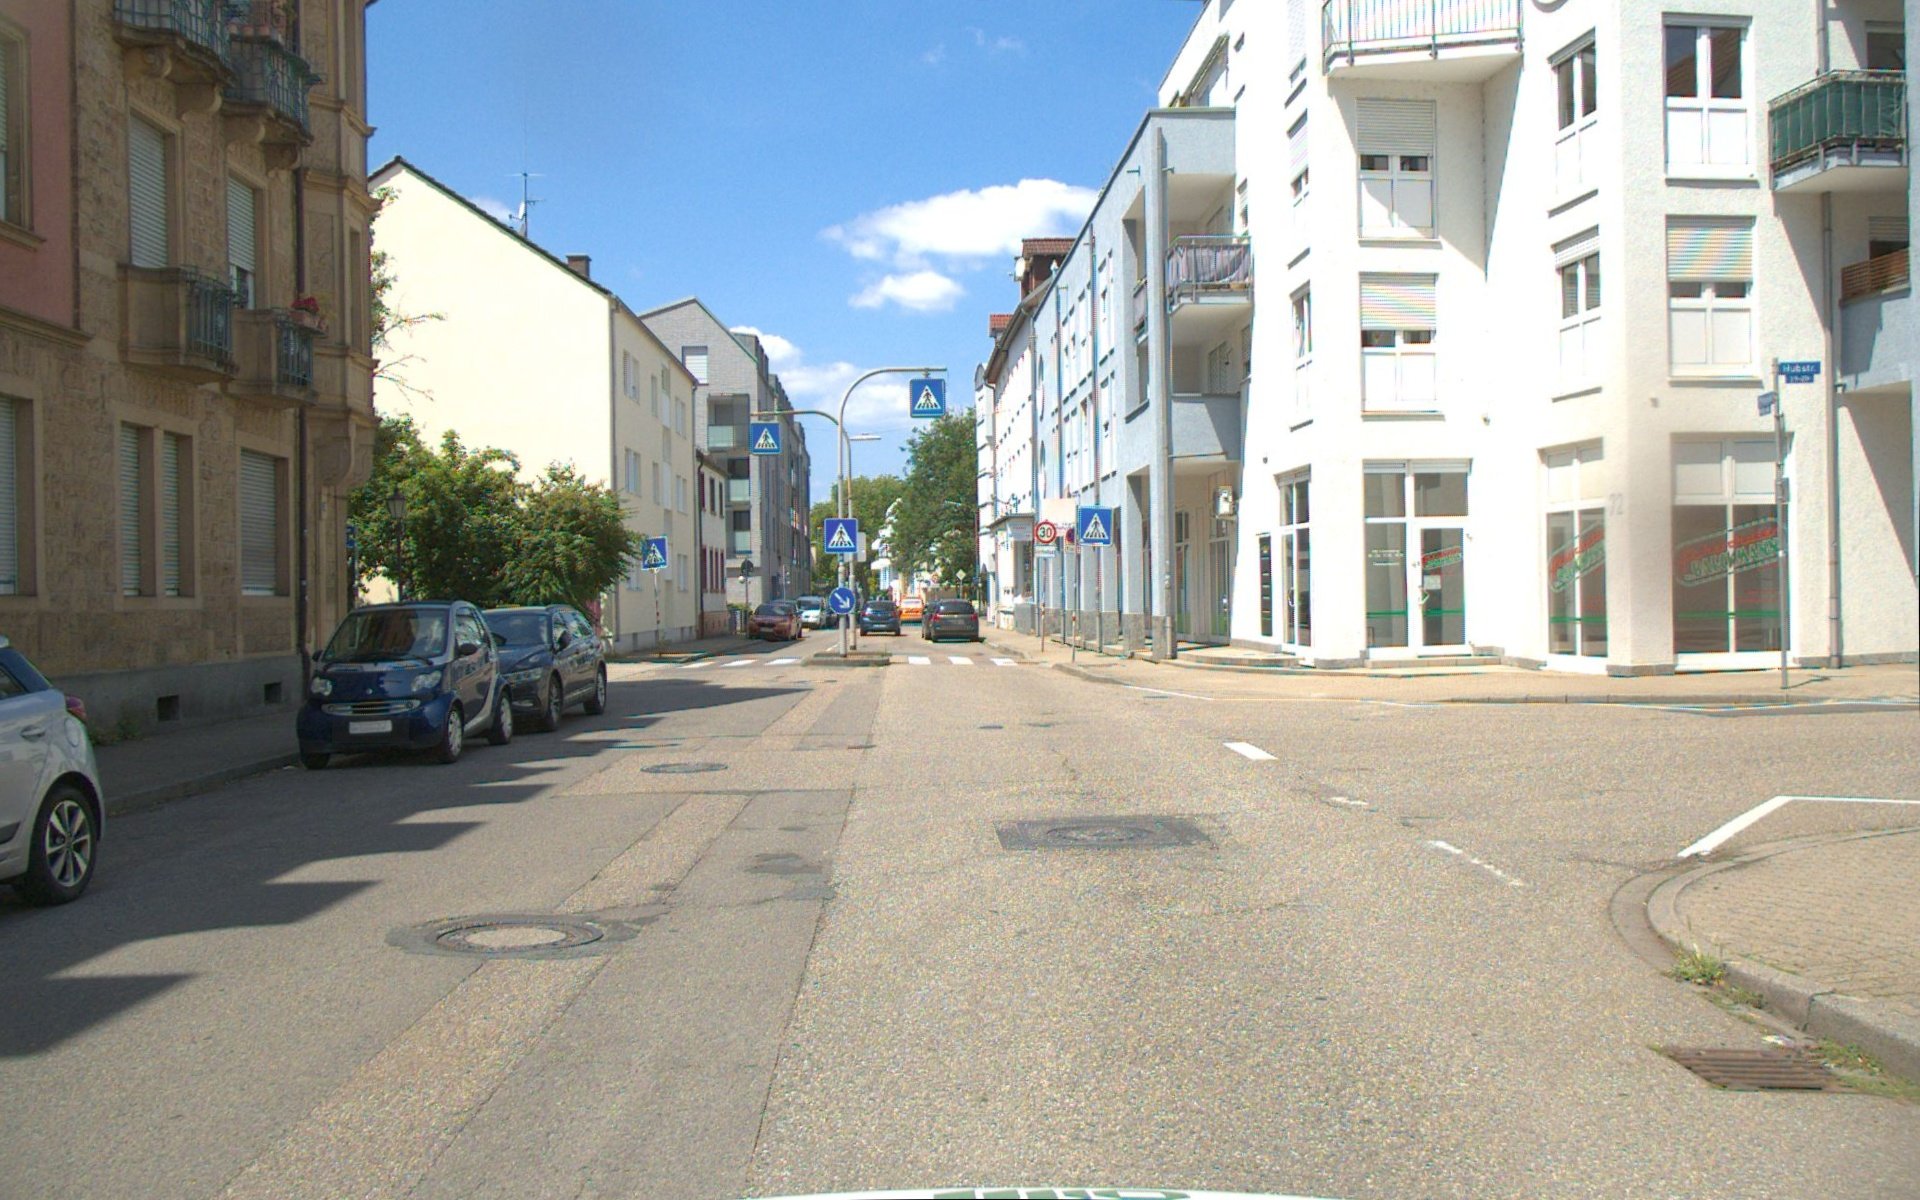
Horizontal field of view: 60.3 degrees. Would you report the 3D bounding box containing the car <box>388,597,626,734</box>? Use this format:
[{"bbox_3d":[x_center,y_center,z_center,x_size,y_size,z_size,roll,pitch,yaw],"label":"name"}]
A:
[{"bbox_3d":[-5.554,0.741,20.896,1.746,1.483,4.634,-2,0,-1],"label":"car"}]

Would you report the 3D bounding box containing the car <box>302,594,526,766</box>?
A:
[{"bbox_3d":[-5.421,0.741,16.696,1.408,1.549,2.694,-2,0,-2],"label":"car"}]

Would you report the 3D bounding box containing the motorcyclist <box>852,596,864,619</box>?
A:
[{"bbox_3d":[-7.510,0.549,121.787,0.698,1.663,1.069,-2,0,1],"label":"motorcyclist"}]

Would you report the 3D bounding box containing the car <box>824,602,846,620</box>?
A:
[{"bbox_3d":[-10.716,0.915,142.040,1.698,1.467,3.997,-1,0,-3],"label":"car"}]

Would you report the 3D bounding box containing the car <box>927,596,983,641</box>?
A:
[{"bbox_3d":[-0.208,0.648,59.474,1.676,1.534,3.996,-1,0,-4],"label":"car"}]

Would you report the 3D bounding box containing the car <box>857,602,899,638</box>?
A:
[{"bbox_3d":[-3.479,0.836,70.465,1.681,1.426,3.998,-1,0,-2],"label":"car"}]

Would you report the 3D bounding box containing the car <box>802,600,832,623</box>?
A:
[{"bbox_3d":[-9.293,0.742,107.431,1.688,1.482,4.004,0,0,-2],"label":"car"}]

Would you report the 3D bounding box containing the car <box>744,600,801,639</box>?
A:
[{"bbox_3d":[-7.488,0.763,66.381,1.796,1.441,4.289,-1,0,0],"label":"car"}]

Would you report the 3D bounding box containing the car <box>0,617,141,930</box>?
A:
[{"bbox_3d":[-5.357,0.875,7.149,1.601,1.456,4.018,-3,0,-1],"label":"car"}]

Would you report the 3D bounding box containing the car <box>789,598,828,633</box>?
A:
[{"bbox_3d":[-8.584,0.854,93.974,1.721,1.925,4.337,1,0,1],"label":"car"}]

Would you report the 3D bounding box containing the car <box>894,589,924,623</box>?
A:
[{"bbox_3d":[-3.197,0.365,103.309,1.802,2.049,3.998,-1,0,-2],"label":"car"}]
